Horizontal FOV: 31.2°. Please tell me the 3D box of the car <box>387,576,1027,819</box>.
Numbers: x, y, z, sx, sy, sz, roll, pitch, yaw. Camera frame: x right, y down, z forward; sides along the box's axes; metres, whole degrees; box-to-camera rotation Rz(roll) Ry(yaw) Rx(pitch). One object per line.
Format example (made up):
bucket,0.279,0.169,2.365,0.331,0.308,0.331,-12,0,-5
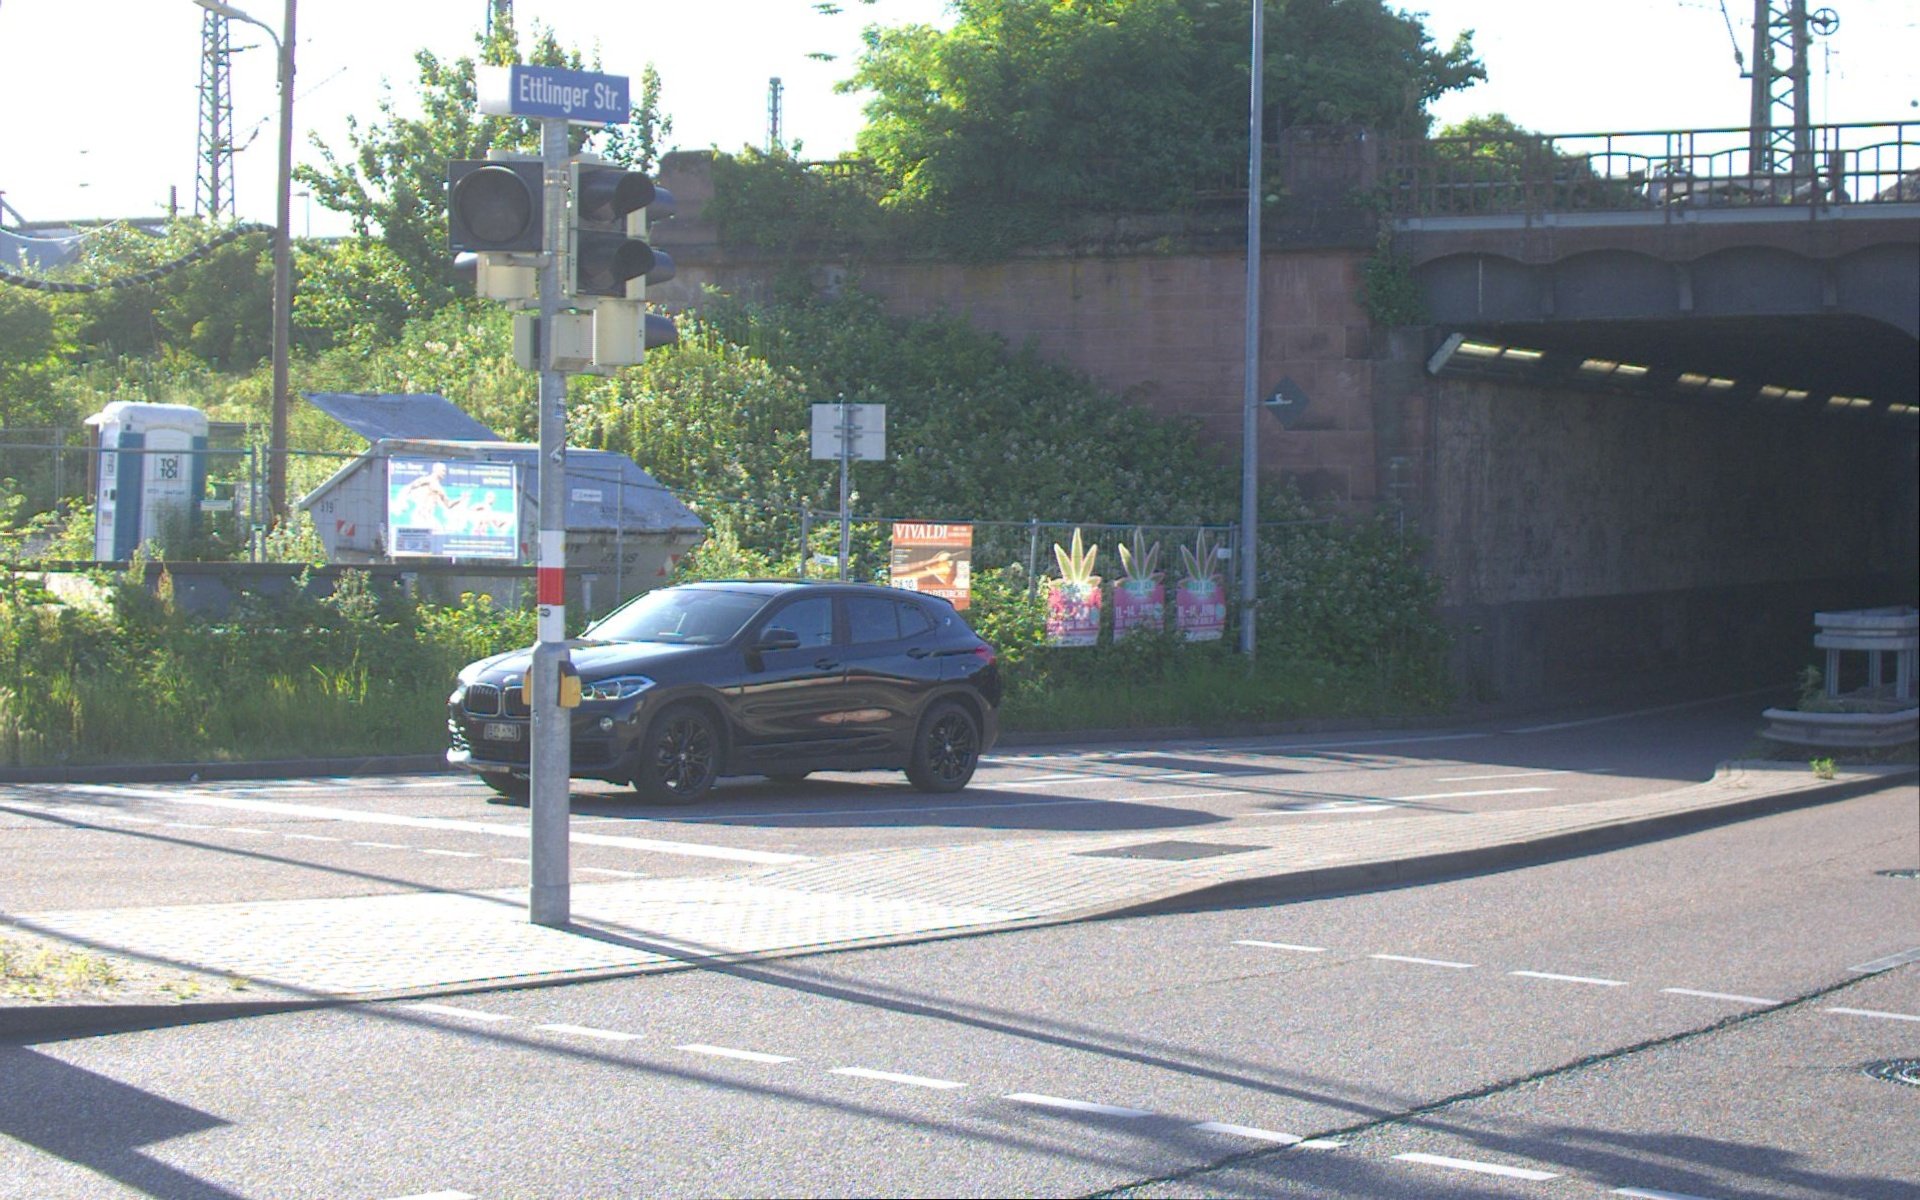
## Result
car,-1.680,0.630,24.137,1.955,1.513,4.376,1,0,40
